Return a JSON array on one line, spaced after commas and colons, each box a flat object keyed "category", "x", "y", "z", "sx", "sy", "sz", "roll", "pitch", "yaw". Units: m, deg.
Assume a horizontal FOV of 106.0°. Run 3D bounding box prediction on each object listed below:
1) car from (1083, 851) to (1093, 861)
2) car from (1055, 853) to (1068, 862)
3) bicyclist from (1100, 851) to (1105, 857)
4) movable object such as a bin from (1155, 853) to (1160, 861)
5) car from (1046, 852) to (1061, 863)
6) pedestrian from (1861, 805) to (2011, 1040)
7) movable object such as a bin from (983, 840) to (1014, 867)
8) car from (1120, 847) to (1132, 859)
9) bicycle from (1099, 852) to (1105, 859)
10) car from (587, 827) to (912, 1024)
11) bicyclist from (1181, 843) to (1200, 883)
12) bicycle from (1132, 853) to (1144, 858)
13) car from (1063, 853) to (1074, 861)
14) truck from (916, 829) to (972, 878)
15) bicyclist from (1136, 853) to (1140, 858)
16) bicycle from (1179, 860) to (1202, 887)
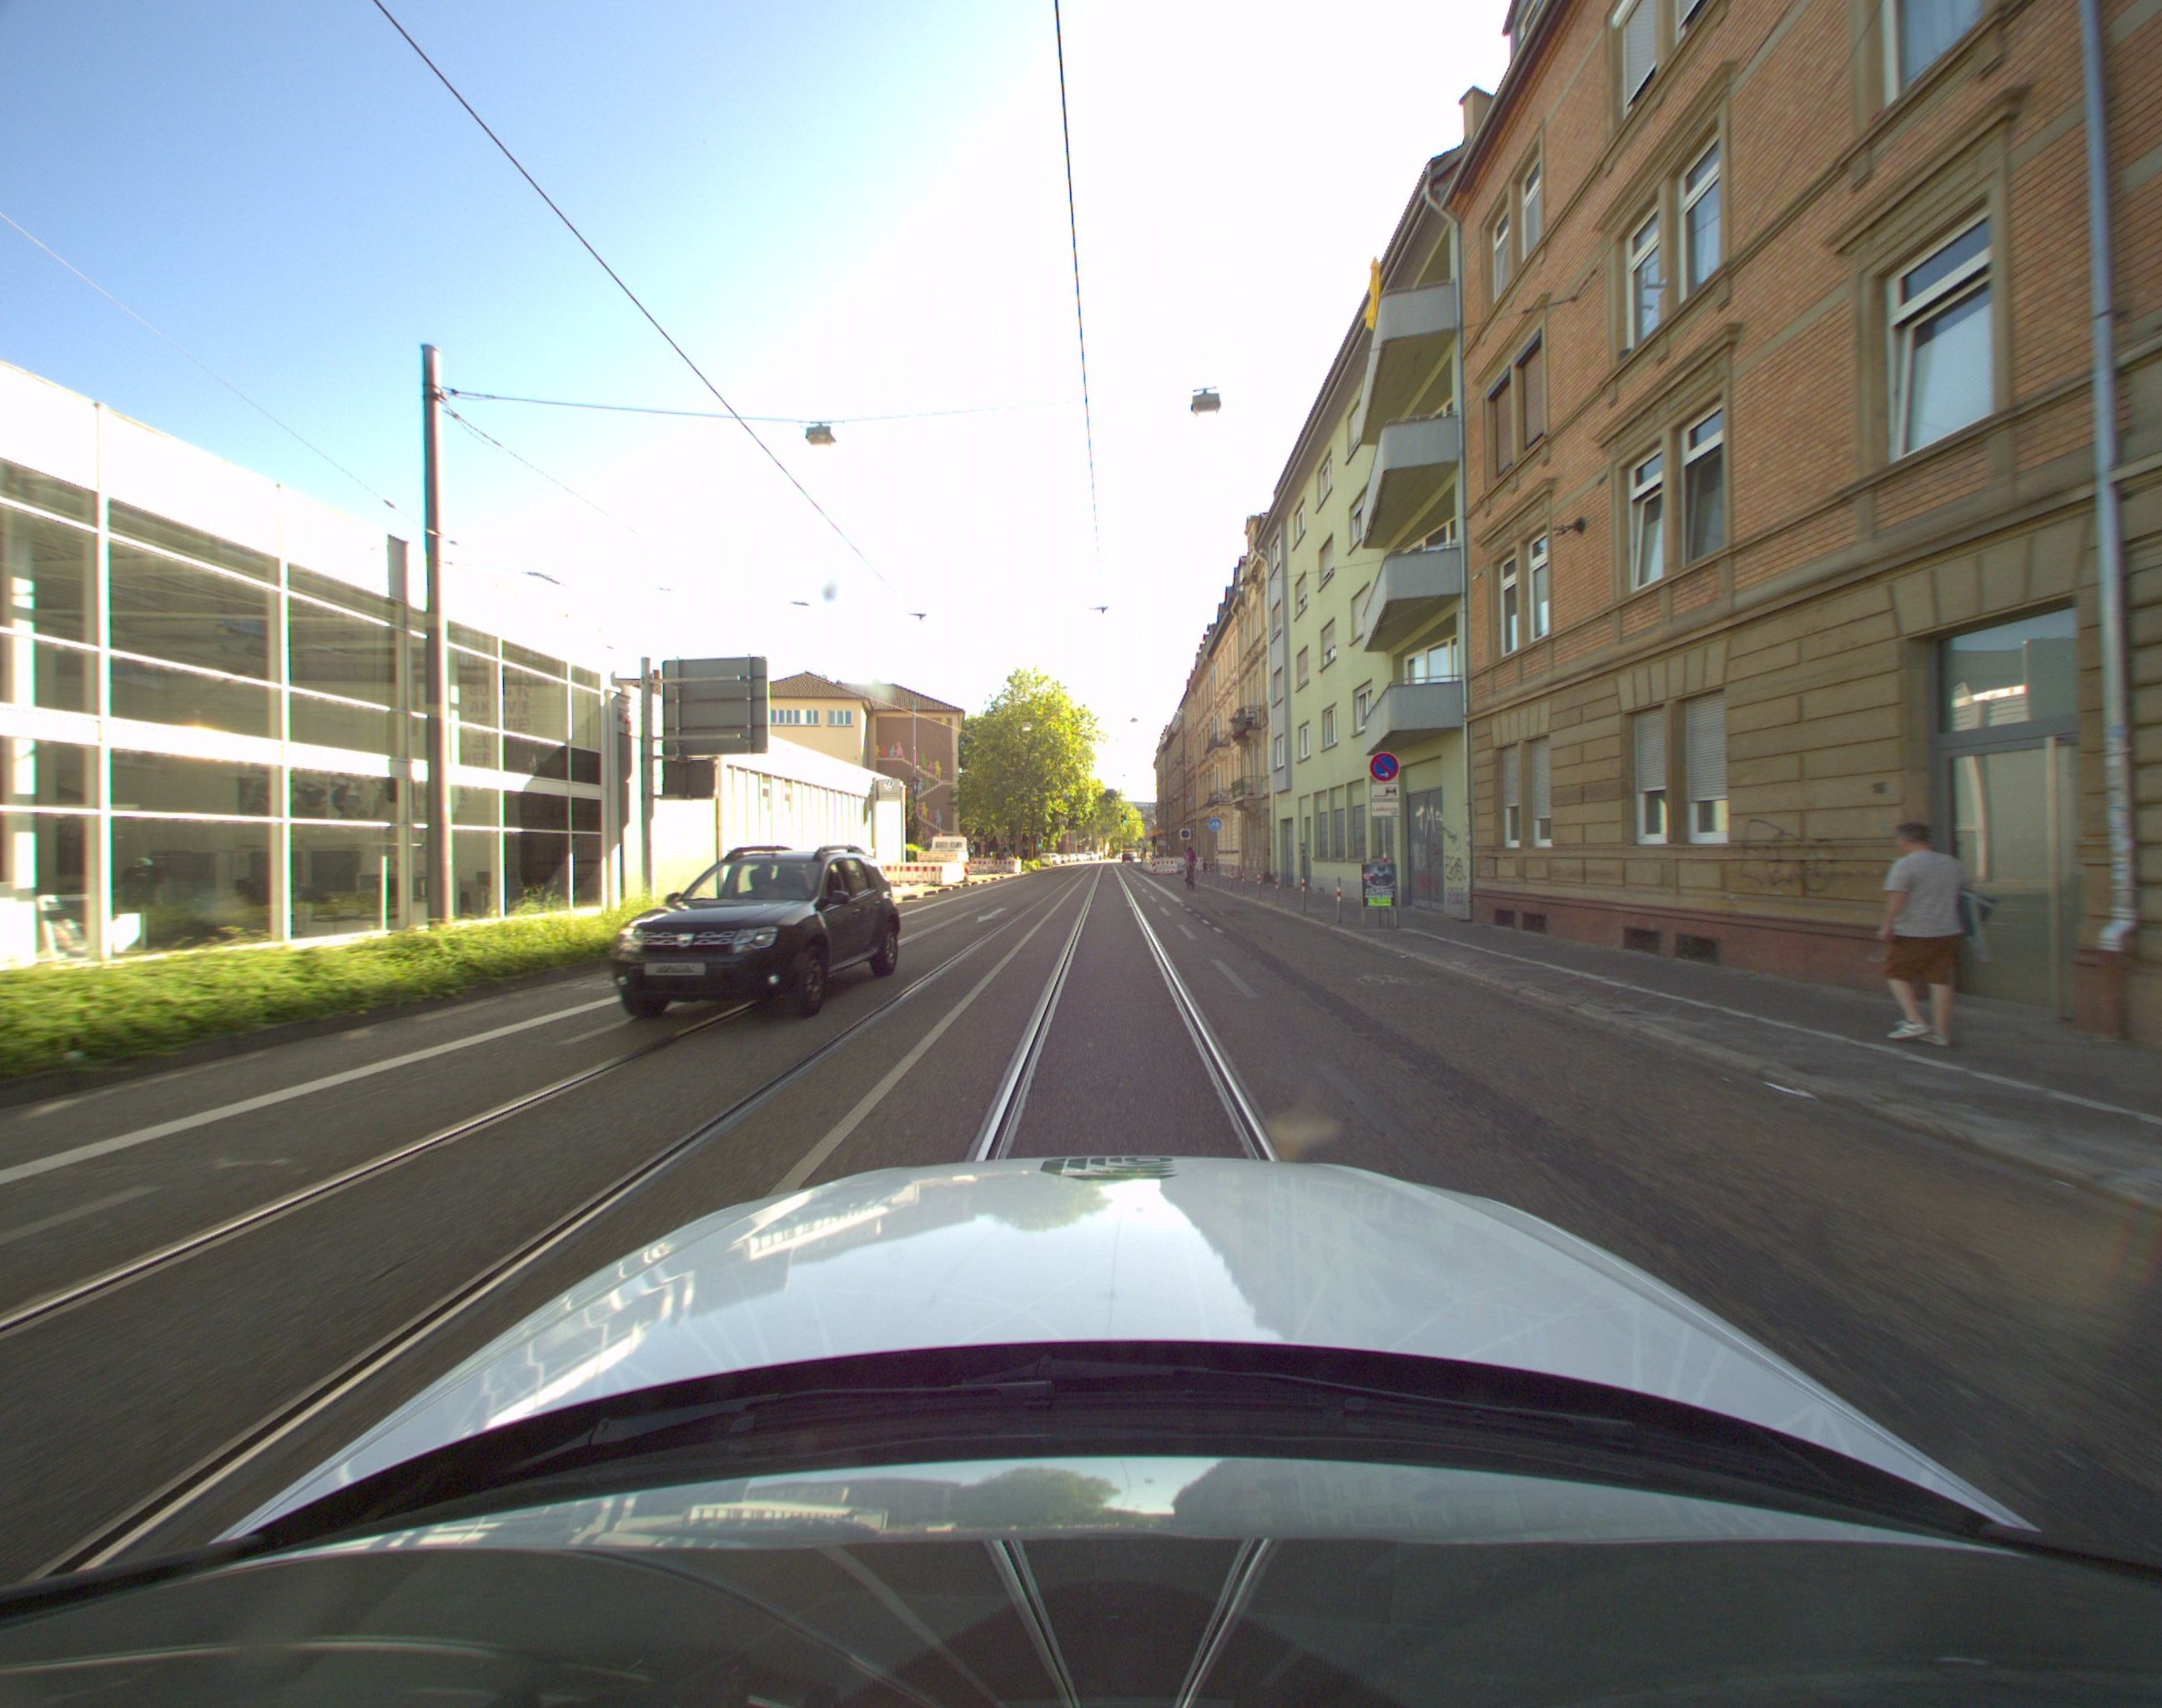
[{"category": "car", "x": 1.581, "y": 0.472, "z": 185.668, "sx": 2.049, "sy": 2.052, "sz": 4.048, "roll": 1, "pitch": 0, "yaw": 4}, {"category": "car", "x": -3.177, "y": 0.578, "z": 131.986, "sx": 1.740, "sy": 1.509, "sz": 4.048, "roll": 1, "pitch": 0, "yaw": 5}, {"category": "bicyclist", "x": 5.363, "y": 0.049, "z": 205.688, "sx": 1.071, "sy": 1.427, "sz": 1.149, "roll": 1, "pitch": -1, "yaw": 10}, {"category": "movable object such as a bin", "x": 10.413, "y": 0.412, "z": 110.847, "sx": 0.671, "sy": 1.036, "sz": 0.814, "roll": -1, "pitch": 1, "yaw": 2}, {"category": "car", "x": -3.938, "y": 0.479, "z": 116.461, "sx": 1.740, "sy": 1.608, "sz": 4.048, "roll": 1, "pitch": 0, "yaw": 5}, {"category": "pedestrian", "x": 6.481, "y": 0.508, "z": 6.200, "sx": 0.549, "sy": 1.701, "sz": 0.475, "roll": -3, "pitch": -1, "yaw": 13}, {"category": "movable object such as a bin", "x": -8.274, "y": -0.044, "z": 82.245, "sx": 2.488, "sy": 2.645, "sz": 5.987, "roll": 1, "pitch": 0, "yaw": -1}, {"category": "car", "x": 7.975, "y": -0.125, "z": 144.094, "sx": 1.986, "sy": 2.014, "sz": 4.002, "roll": 1, "pitch": 0, "yaw": 2}, {"category": "bicycle", "x": 5.270, "y": 0.409, "z": 205.731, "sx": 1.227, "sy": 1.572, "sz": 2.904, "roll": 1, "pitch": 0, "yaw": 9}, {"category": "car", "x": -3.325, "y": 0.633, "z": 9.174, "sx": 1.751, "sy": 1.697, "sz": 4.147, "roll": 1, "pitch": 0, "yaw": 3}, {"category": "bicyclist", "x": 4.682, "y": 0.383, "z": 34.925, "sx": 0.664, "sy": 1.697, "sz": 1.043, "roll": 1, "pitch": -1, "yaw": 1}, {"category": "bicycle", "x": 14.653, "y": 0.472, "z": 208.824, "sx": 2.868, "sy": 1.231, "sz": 0.887, "roll": 1, "pitch": -1, "yaw": 12}, {"category": "car", "x": -2.352, "y": 0.521, "z": 154.931, "sx": 1.740, "sy": 1.495, "sz": 4.048, "roll": 1, "pitch": 0, "yaw": 5}, {"category": "truck", "x": -8.501, "y": 0.000, "z": 51.196, "sx": 2.531, "sy": 2.830, "sz": 6.371, "roll": 1, "pitch": 0, "yaw": -2}, {"category": "bicyclist", "x": 14.689, "y": 0.402, "z": 208.801, "sx": 0.894, "sy": 1.427, "sz": 1.056, "roll": 1, "pitch": -1, "yaw": 10}, {"category": "bicycle", "x": 4.678, "y": 0.807, "z": 34.973, "sx": 0.678, "sy": 1.114, "sz": 2.708, "roll": 1, "pitch": 0, "yaw": 2}]
